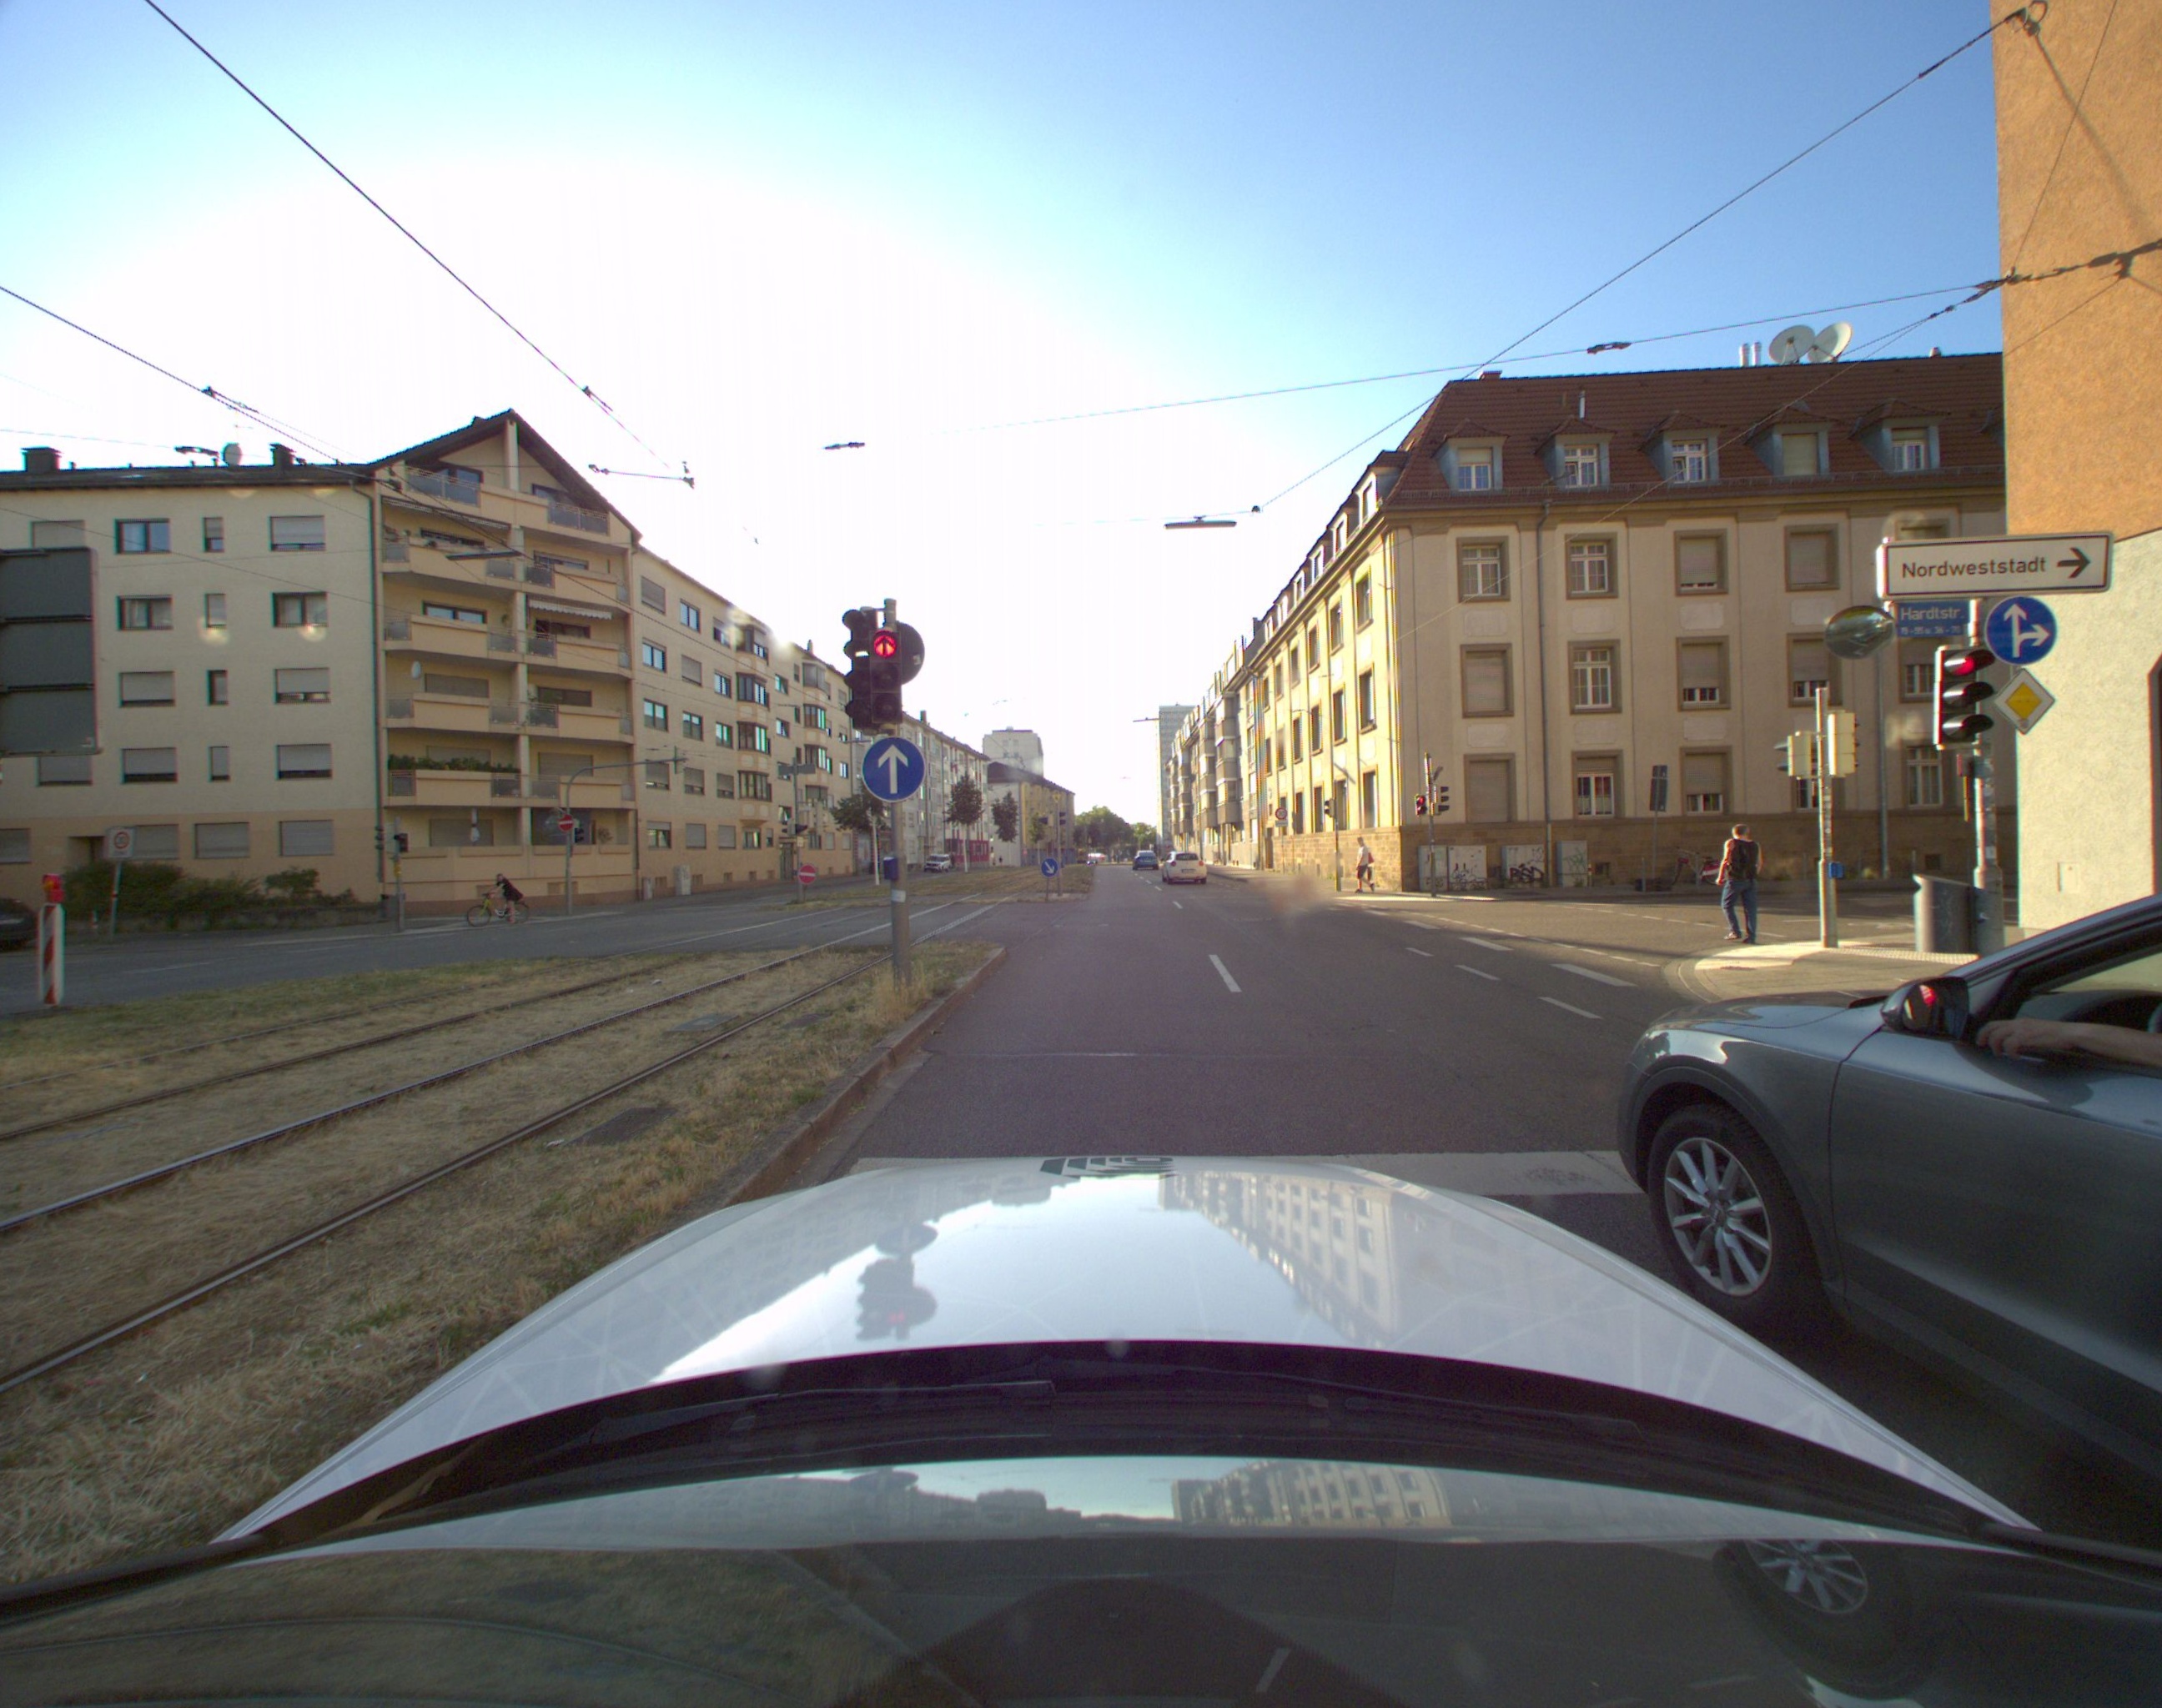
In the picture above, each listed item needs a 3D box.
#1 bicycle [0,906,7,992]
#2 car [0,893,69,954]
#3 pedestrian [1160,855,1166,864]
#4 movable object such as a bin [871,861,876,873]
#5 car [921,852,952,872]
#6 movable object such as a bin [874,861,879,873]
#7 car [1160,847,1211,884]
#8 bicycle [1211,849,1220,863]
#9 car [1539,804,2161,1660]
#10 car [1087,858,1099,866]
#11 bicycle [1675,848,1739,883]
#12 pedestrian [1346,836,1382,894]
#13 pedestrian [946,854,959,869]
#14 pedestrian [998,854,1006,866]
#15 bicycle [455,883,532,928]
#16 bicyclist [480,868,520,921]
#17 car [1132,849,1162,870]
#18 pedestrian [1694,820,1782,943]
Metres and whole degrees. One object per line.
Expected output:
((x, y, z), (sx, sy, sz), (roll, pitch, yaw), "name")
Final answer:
((-16.424, 1.429, 11.230), (0.451, 1.257, 1.880), (-1, 1, 19), "bicycle")
((-30.188, 1.916, 21.509), (3.983, 1.442, 1.996), (-2, 3, -7), "car")
((10.749, 0.691, 106.760), (0.688, 1.234, 0.737), (0, -1, 2), "pedestrian")
((-17.557, 1.110, 68.853), (0.297, 1.036, 0.442), (0, -1, 3), "movable object such as a bin")
((-14.535, 0.810, 82.152), (1.984, 1.925, 4.548), (0, -1, 5), "car")
((-17.445, 1.102, 69.444), (0.297, 1.036, 0.441), (0, -1, 1), "movable object such as a bin")
((4.666, 0.515, 36.948), (1.985, 1.564, 4.003), (0, -1, 3), "car")
((10.214, 0.158, 61.768), (0.382, 1.096, 1.503), (-2, -1, 0), "bicycle")
((2.790, 0.668, 1.422), (1.691, 1.552, 4.227), (-1, 0, 2), "car")
((2.648, 1.684, 176.371), (1.885, 1.633, 4.761), (-2, 0, 10), "car")
((18.425, 0.335, 23.990), (1.491, 1.018, 0.251), (-1, -1, 17), "bicycle")
((8.774, 0.338, 25.267), (0.832, 1.762, 0.824), (0, -1, 1), "pedestrian")
((-14.828, 0.841, 93.994), (1.266, 1.761, 1.273), (0, -1, -2), "pedestrian")
((-11.558, 0.866, 118.924), (0.957, 1.670, 1.013), (-1, -1, 7), "pedestrian")
((-18.244, 1.586, 25.339), (0.450, 1.257, 1.883), (-1, 1, 34), "bicycle")
((-18.173, 1.259, 25.480), (0.620, 1.586, 0.814), (-1, 0, 35), "bicyclist")
((4.924, 0.420, 61.547), (1.986, 1.554, 4.394), (0, 0, 1), "car")
((9.708, 0.402, 12.070), (0.627, 1.758, 0.826), (0, -1, 1), "pedestrian")
